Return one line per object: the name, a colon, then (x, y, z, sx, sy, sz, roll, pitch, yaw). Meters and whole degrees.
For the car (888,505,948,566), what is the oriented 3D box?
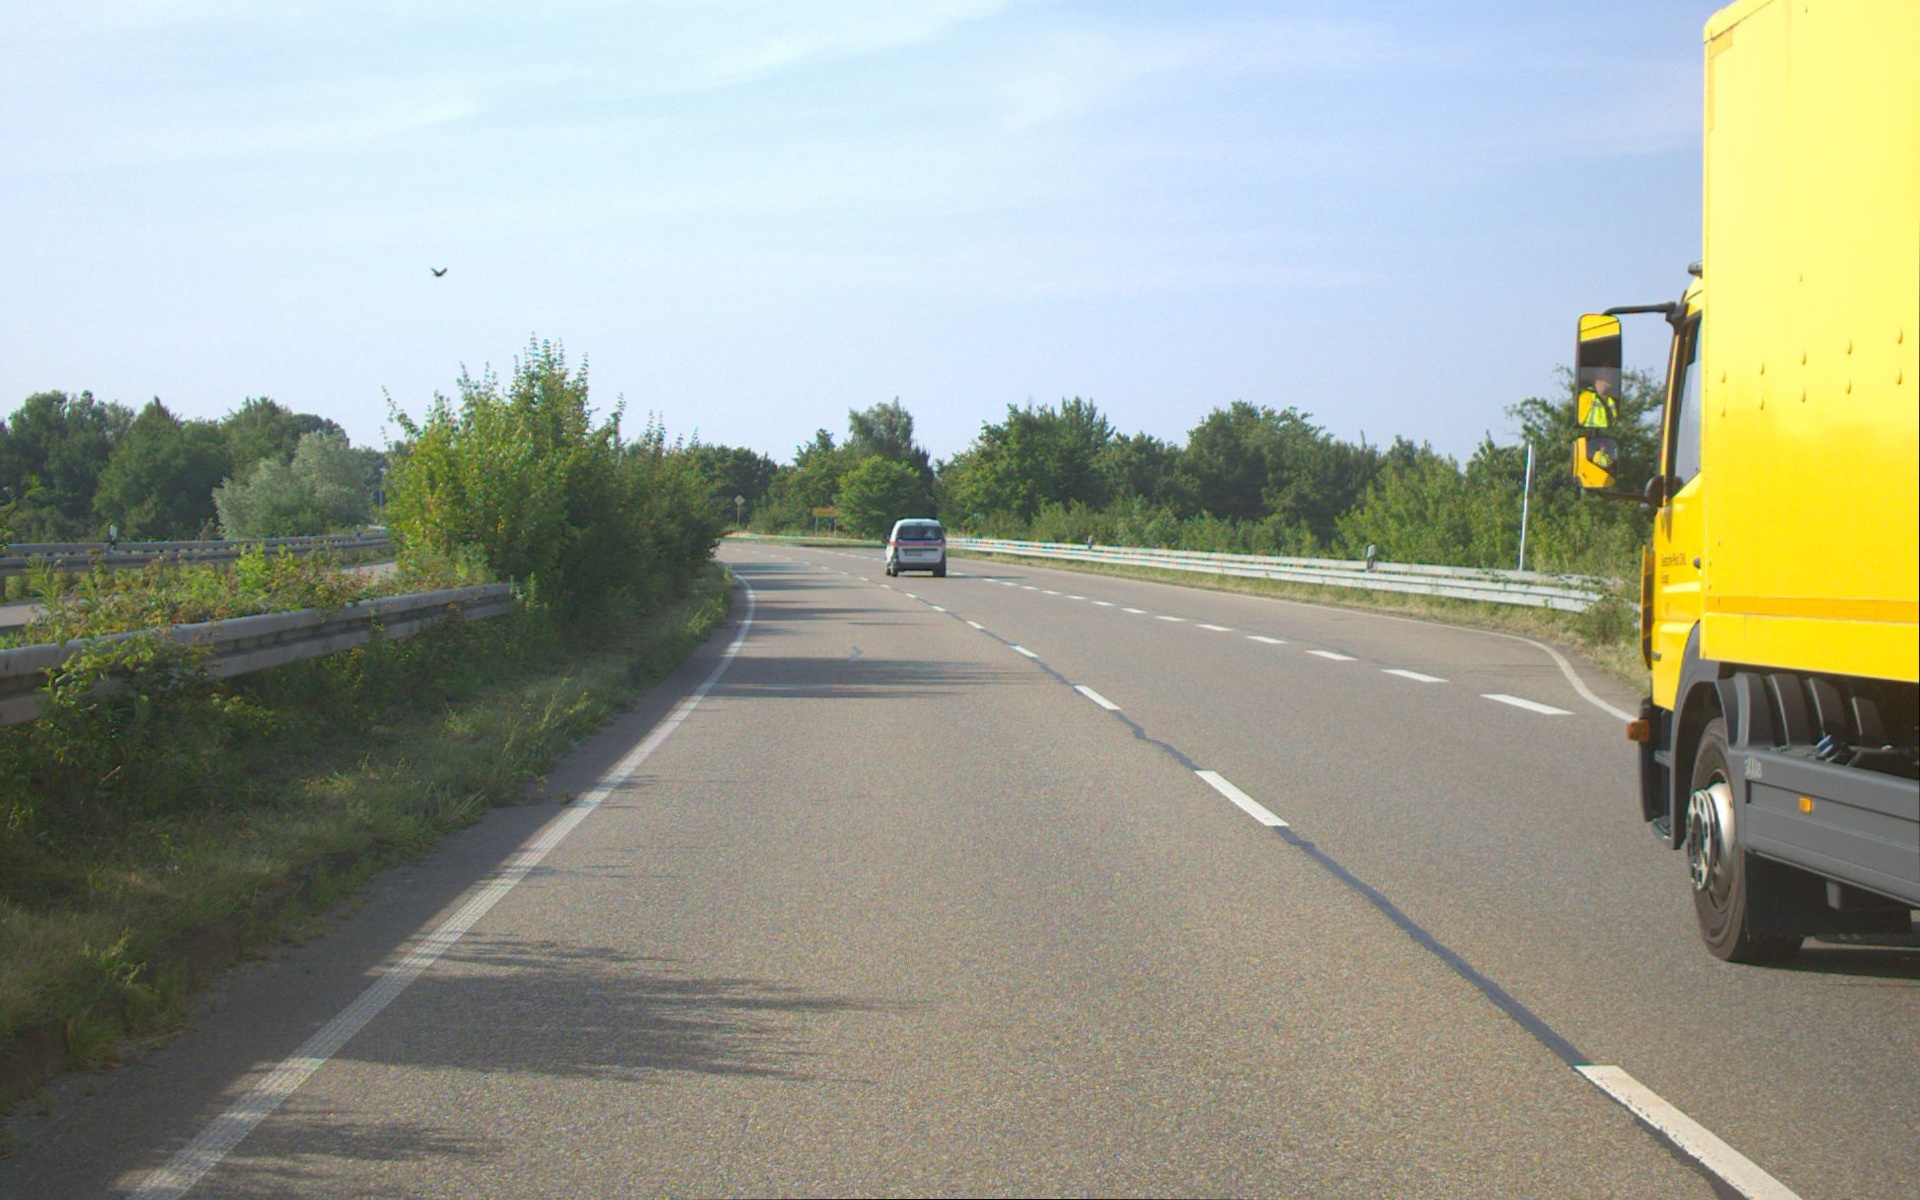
car: (-1.324, -2.005, 107.667, 1.765, 1.875, 4.000, 0, 1, -2)

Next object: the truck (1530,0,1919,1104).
truck: (3.974, -0.303, 9.951, 2.778, 3.305, 10.490, 1, 1, 0)
